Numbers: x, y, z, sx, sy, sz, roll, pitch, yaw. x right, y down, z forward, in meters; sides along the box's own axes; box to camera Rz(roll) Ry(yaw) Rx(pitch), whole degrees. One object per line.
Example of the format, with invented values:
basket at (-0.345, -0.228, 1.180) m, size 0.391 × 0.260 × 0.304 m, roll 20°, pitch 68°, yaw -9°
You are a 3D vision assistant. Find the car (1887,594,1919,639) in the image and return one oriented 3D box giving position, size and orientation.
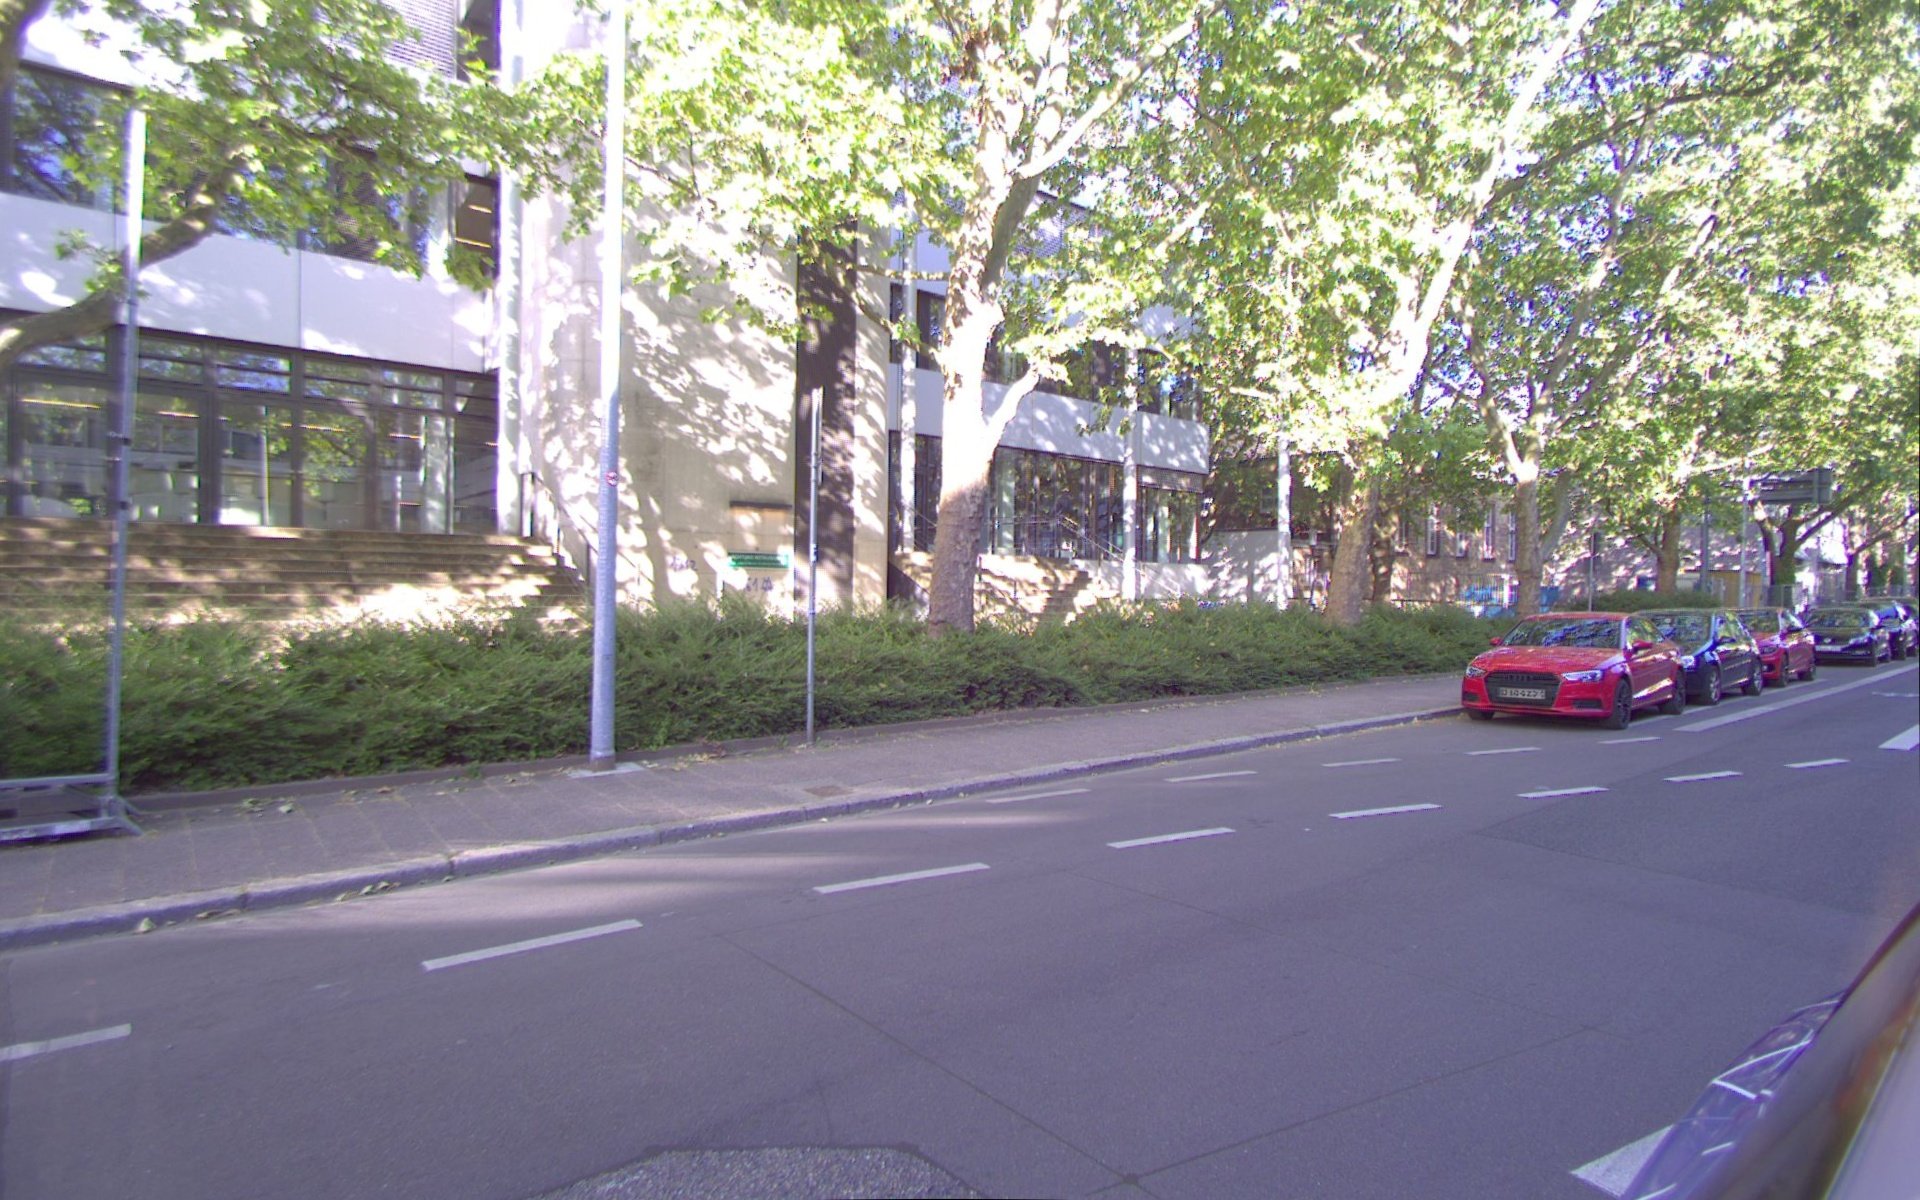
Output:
car at (35.967, 0.575, 37.439) m, size 4.070 × 1.585 × 1.997 m, roll -1°, pitch 0°, yaw -41°

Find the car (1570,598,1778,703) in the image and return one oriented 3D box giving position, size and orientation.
car at (11.779, 0.730, 16.640) m, size 3.581 × 1.478 × 1.997 m, roll -1°, pitch 0°, yaw -41°

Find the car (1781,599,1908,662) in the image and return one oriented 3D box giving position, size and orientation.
car at (22.803, 0.725, 26.053) m, size 3.527 × 1.474 × 1.997 m, roll -1°, pitch 0°, yaw -41°

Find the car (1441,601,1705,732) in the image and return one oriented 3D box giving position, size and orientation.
car at (8.260, 0.753, 13.515) m, size 3.930 × 1.443 × 1.906 m, roll -1°, pitch 0°, yaw -41°

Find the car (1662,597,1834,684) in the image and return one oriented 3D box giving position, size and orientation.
car at (15.649, 0.720, 20.044) m, size 3.762 × 1.517 × 1.997 m, roll -1°, pitch 0°, yaw -41°

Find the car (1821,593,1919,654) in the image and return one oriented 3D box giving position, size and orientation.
car at (26.527, 0.611, 29.173) m, size 4.070 × 1.621 × 1.997 m, roll -1°, pitch 0°, yaw -41°

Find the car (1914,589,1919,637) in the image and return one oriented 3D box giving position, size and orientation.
car at (39.631, 0.488, 40.303) m, size 3.930 × 1.872 × 1.997 m, roll -1°, pitch 0°, yaw -41°

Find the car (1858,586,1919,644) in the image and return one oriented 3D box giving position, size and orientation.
car at (31.267, 0.453, 33.303) m, size 4.493 × 1.809 × 1.997 m, roll -1°, pitch 0°, yaw -41°
